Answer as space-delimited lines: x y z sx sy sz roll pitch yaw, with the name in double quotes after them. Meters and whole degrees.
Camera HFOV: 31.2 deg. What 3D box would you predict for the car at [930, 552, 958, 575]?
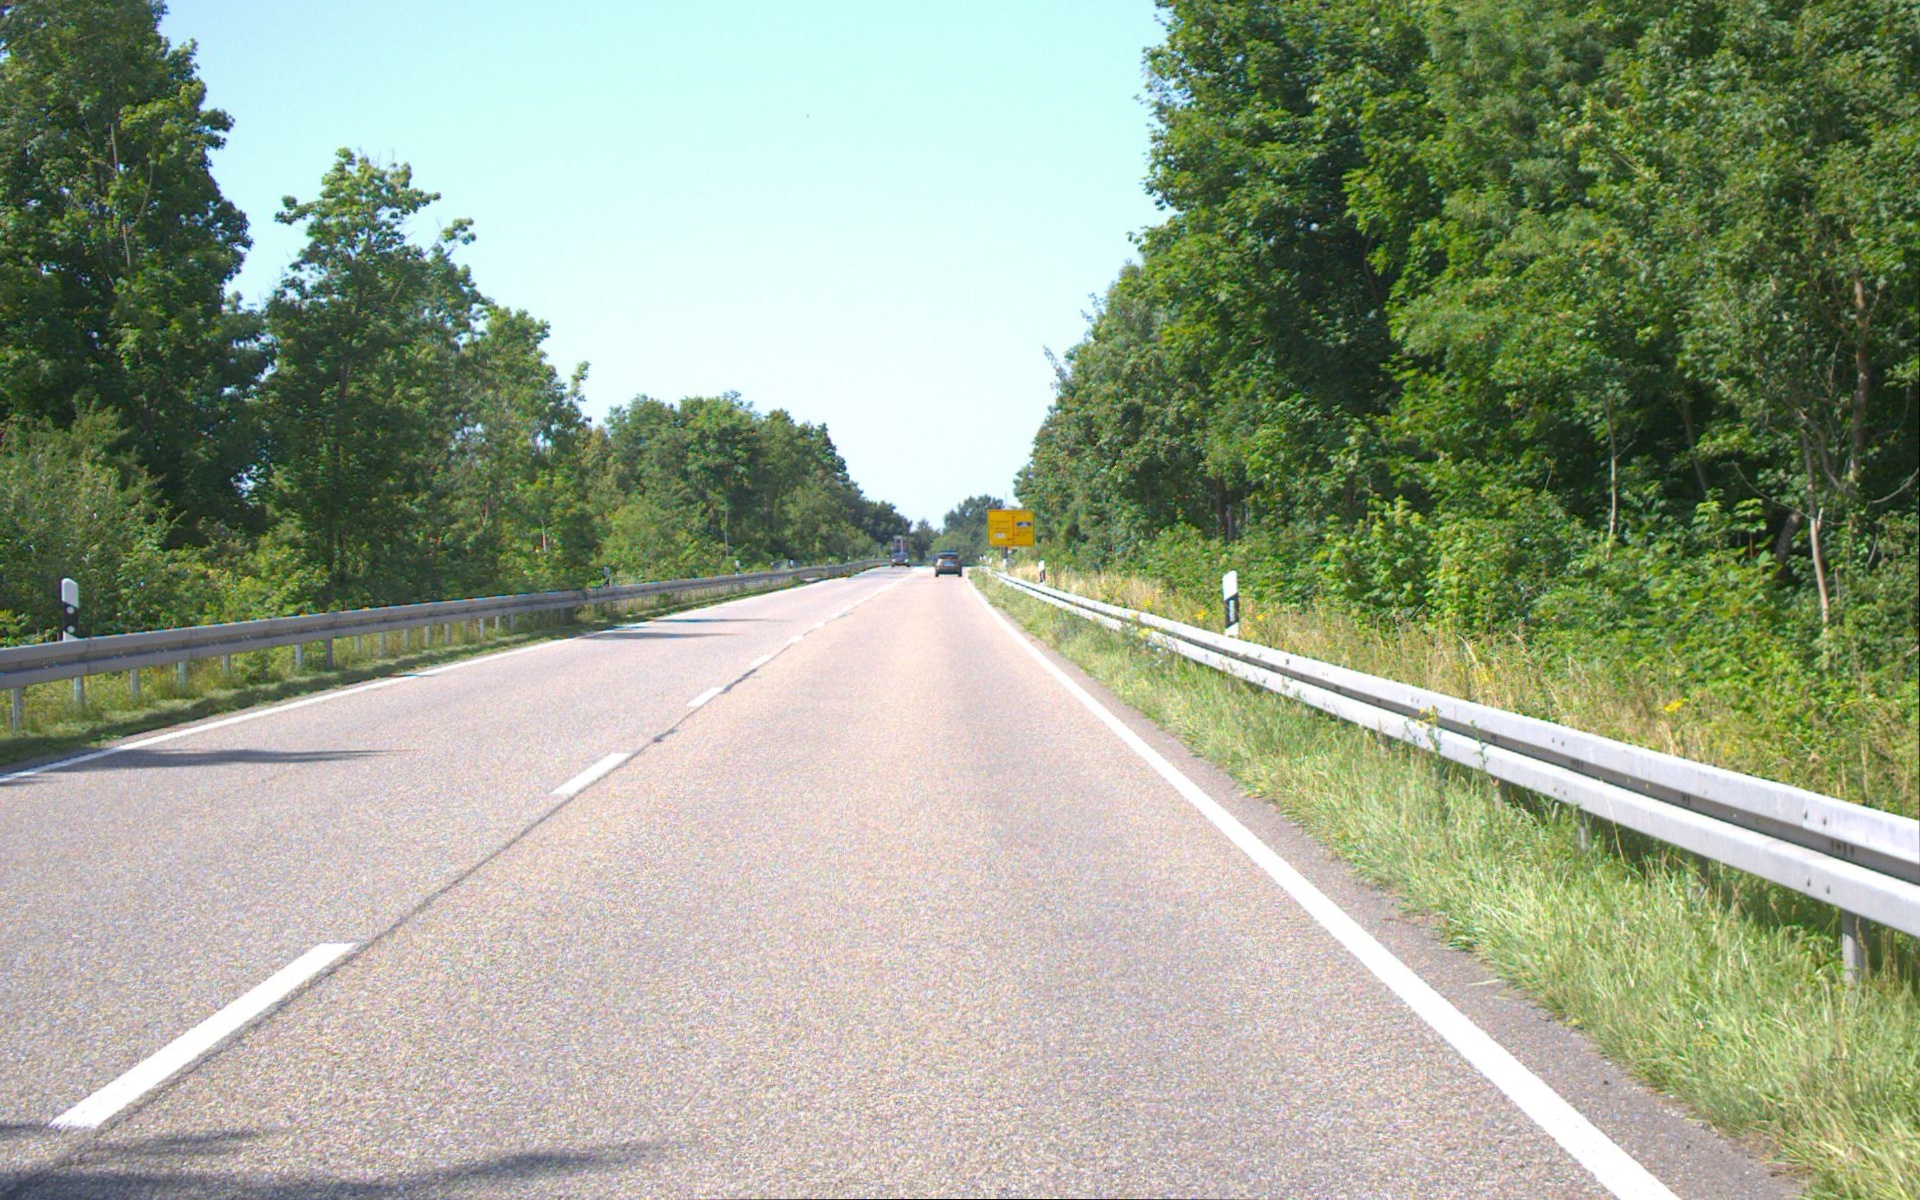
-1.034 -2.399 225.441 1.741 1.465 3.692 0 1 1 "car"
